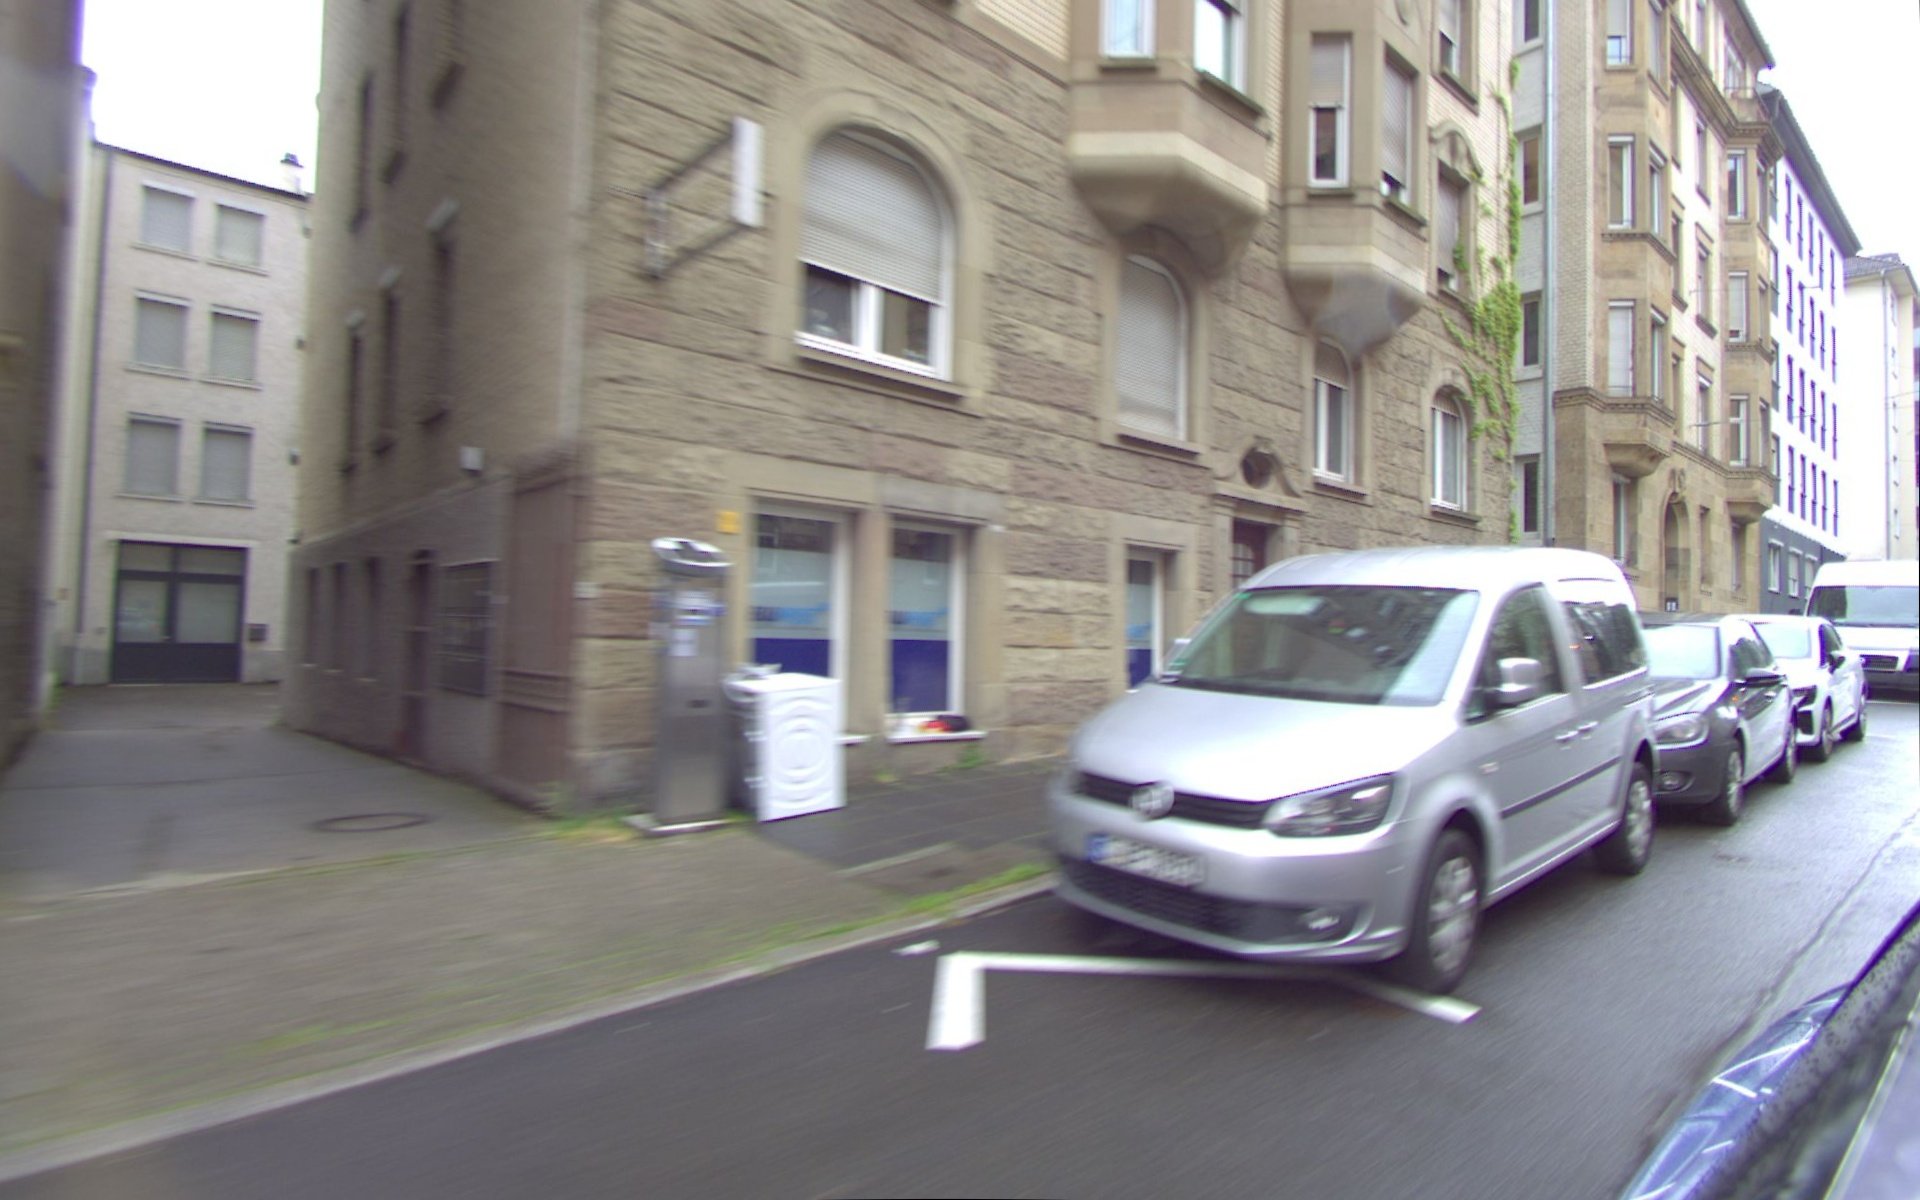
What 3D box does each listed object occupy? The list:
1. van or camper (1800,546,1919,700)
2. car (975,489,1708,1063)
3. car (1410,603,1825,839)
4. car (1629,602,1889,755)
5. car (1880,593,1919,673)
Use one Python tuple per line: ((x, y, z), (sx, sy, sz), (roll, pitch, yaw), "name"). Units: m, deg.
((17.565, 0.368, 18.813), (6.012, 2.500, 2.068), (0, 0, -41), "van or camper")
((2.260, 0.567, 5.275), (4.284, 1.799, 1.777), (1, 0, -41), "car")
((5.617, 0.772, 8.460), (3.932, 1.459, 1.996), (0, 0, -42), "car")
((9.136, 0.763, 11.466), (3.931, 1.429, 1.678), (1, -1, -42), "car")
((23.735, 0.758, 24.427), (4.404, 1.831, 1.771), (0, -1, -41), "car")
